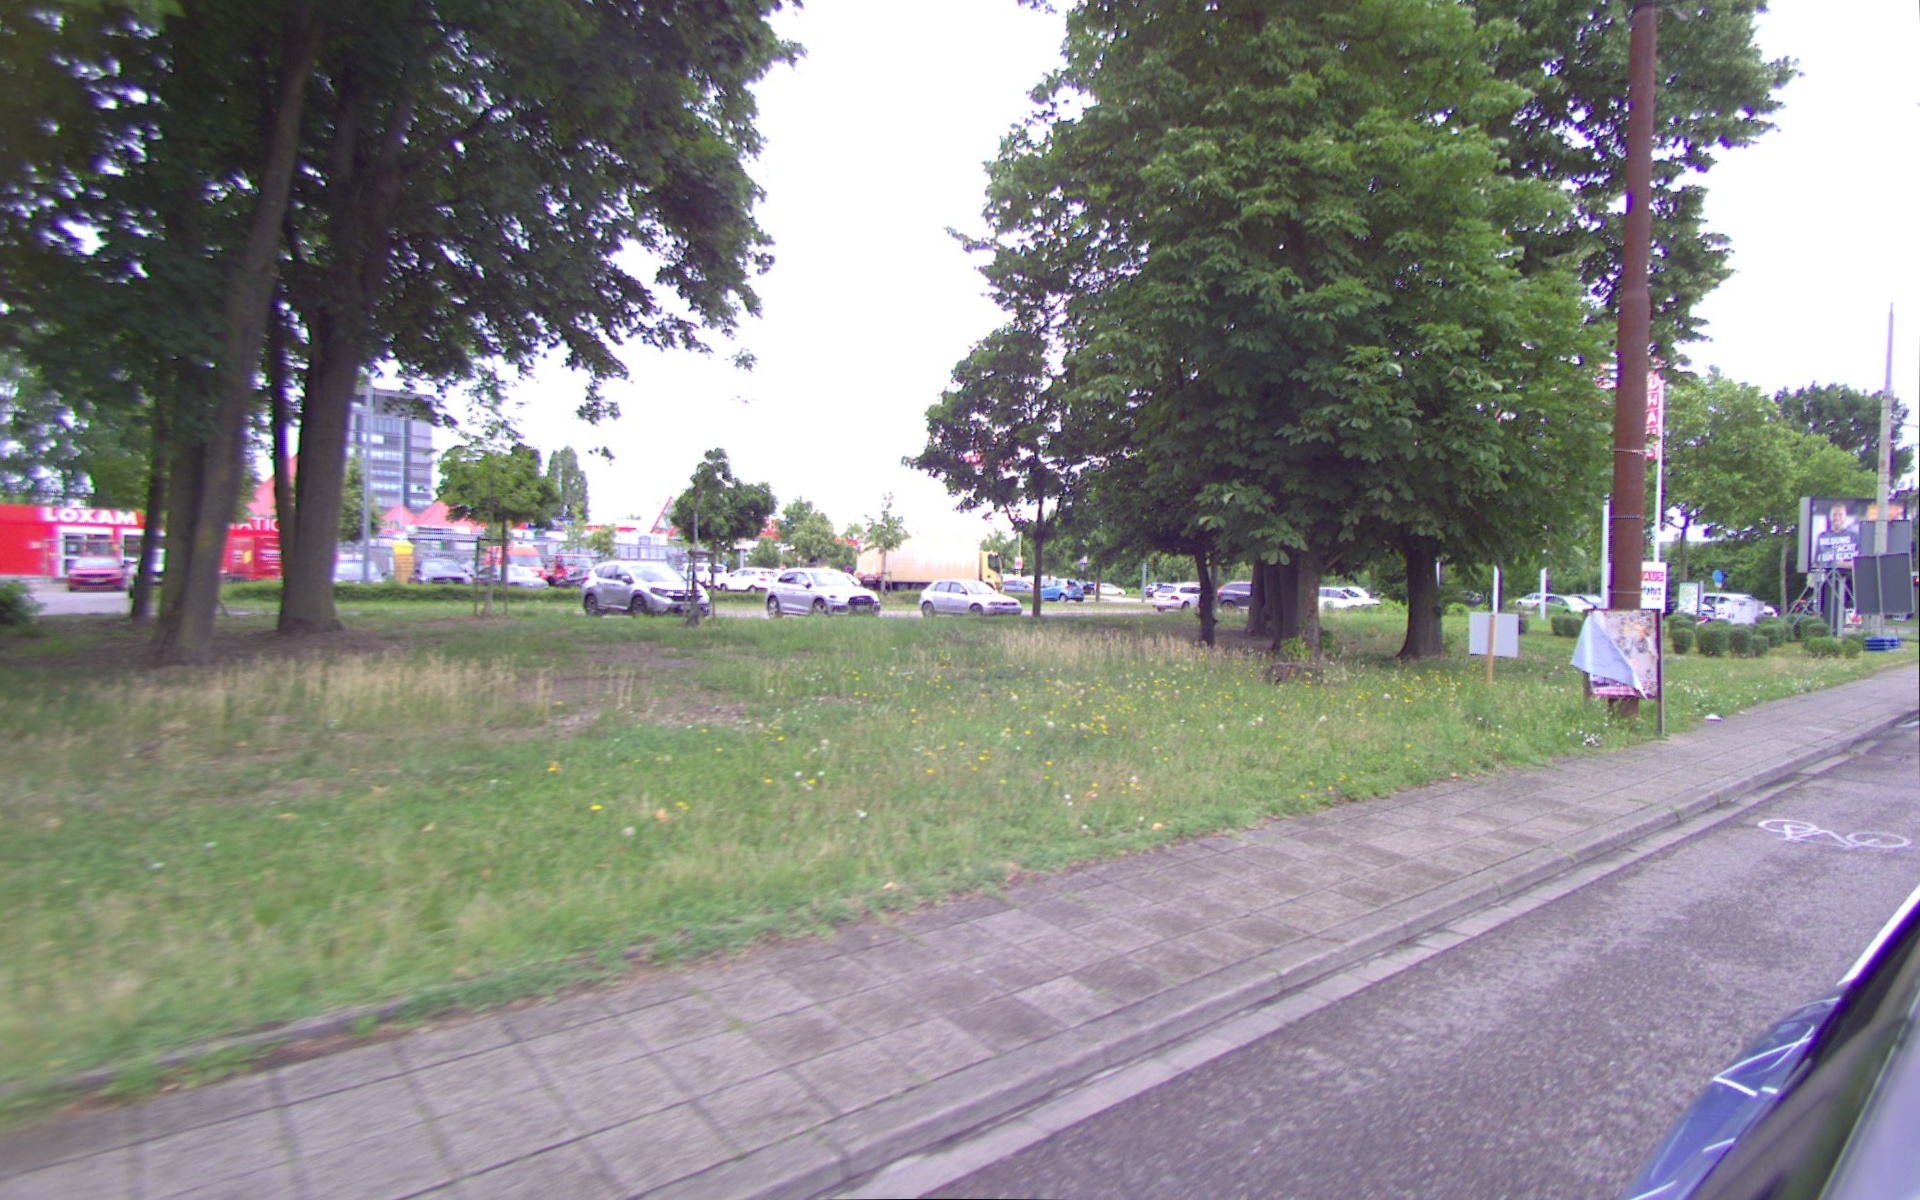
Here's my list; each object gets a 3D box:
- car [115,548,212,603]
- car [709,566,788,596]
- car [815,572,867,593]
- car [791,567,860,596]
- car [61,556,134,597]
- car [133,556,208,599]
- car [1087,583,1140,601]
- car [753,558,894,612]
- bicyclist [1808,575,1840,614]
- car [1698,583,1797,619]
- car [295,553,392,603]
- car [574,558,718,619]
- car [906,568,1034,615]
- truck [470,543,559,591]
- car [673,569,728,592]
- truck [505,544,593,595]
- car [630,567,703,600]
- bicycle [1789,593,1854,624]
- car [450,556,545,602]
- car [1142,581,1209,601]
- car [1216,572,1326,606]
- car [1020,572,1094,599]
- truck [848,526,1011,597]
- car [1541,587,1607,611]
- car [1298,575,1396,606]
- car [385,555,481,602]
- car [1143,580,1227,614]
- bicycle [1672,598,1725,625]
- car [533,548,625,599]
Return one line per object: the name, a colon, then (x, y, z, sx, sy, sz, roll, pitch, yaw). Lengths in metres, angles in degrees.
car: (-26.741, -0.854, 33.927, 2.120, 1.697, 4.558, 0, 2, -44)
car: (-12.753, -1.159, 60.841, 4.538, 1.697, 2.129, 3, 2, 35)
car: (-10.171, -1.509, 86.368, 2.120, 1.697, 4.558, 0, 2, -44)
car: (-8.694, -1.218, 65.169, 2.121, 1.697, 4.556, 0, 2, -45)
car: (-35.958, -1.005, 42.139, 2.119, 1.575, 4.559, 0, 2, -43)
car: (-33.605, -0.996, 43.050, 2.119, 1.697, 4.559, 0, 2, -43)
car: (17.427, -0.926, 115.111, 5.619, 1.917, 2.155, 1, 1, 1)
car: (-4.271, -0.435, 31.064, 2.132, 1.516, 4.683, 0, 0, -40)
bicyclist: (34.758, -0.232, 40.723, 0.570, 1.538, 0.761, 1, 1, -22)
car: (44.617, 0.022, 57.447, 1.842, 1.851, 4.428, 0, 2, -6)
car: (-22.749, -0.836, 37.256, 2.120, 1.697, 4.558, 0, 2, -44)
car: (-8.493, -0.292, 27.130, 1.927, 1.516, 4.535, 0, 0, -43)
car: (0.285, -0.279, 35.174, 1.899, 1.516, 4.447, 0, 0, -43)
truck: (-26.224, -1.967, 59.363, 2.442, 2.667, 7.872, 0, 2, -42)
car: (-19.885, -1.500, 77.339, 2.120, 1.697, 4.558, 0, 2, -44)
truck: (-24.973, -1.893, 61.302, 2.442, 2.850, 7.872, 0, 2, -42)
car: (-16.750, -0.956, 57.626, 2.120, 1.697, 4.558, 0, 2, -44)
bicycle: (34.721, 0.321, 40.824, 0.570, 1.163, 1.899, 1, 1, -22)
car: (-18.737, -0.863, 40.896, 2.120, 1.697, 4.558, 0, 2, -44)
car: (20.004, -0.853, 94.057, 5.608, 1.697, 2.159, 1, 1, -8)
car: (14.467, -0.507, 47.254, 1.899, 1.516, 4.603, 0, 0, -43)
car: (5.979, -0.899, 62.622, 1.951, 1.525, 4.566, 0, 2, -38)
truck: (-1.516, -2.018, 55.543, 9.085, 3.609, 2.945, 0, 0, -40)
car: (40.580, -0.079, 66.962, 1.750, 1.552, 4.003, 0, 0, -3)
car: (19.367, -0.464, 50.804, 1.898, 1.516, 4.226, 0, 0, -42)
car: (-20.468, -0.870, 39.238, 2.120, 1.697, 4.558, 0, 2, -44)
car: (11.894, -0.179, 53.363, 4.423, 1.691, 1.998, 0, 0, -38)
bicycle: (32.832, 0.498, 45.006, 1.780, 1.131, 0.486, 2, 1, 14)
car: (-16.527, -1.173, 43.818, 2.120, 2.076, 4.558, 0, 2, -44)
